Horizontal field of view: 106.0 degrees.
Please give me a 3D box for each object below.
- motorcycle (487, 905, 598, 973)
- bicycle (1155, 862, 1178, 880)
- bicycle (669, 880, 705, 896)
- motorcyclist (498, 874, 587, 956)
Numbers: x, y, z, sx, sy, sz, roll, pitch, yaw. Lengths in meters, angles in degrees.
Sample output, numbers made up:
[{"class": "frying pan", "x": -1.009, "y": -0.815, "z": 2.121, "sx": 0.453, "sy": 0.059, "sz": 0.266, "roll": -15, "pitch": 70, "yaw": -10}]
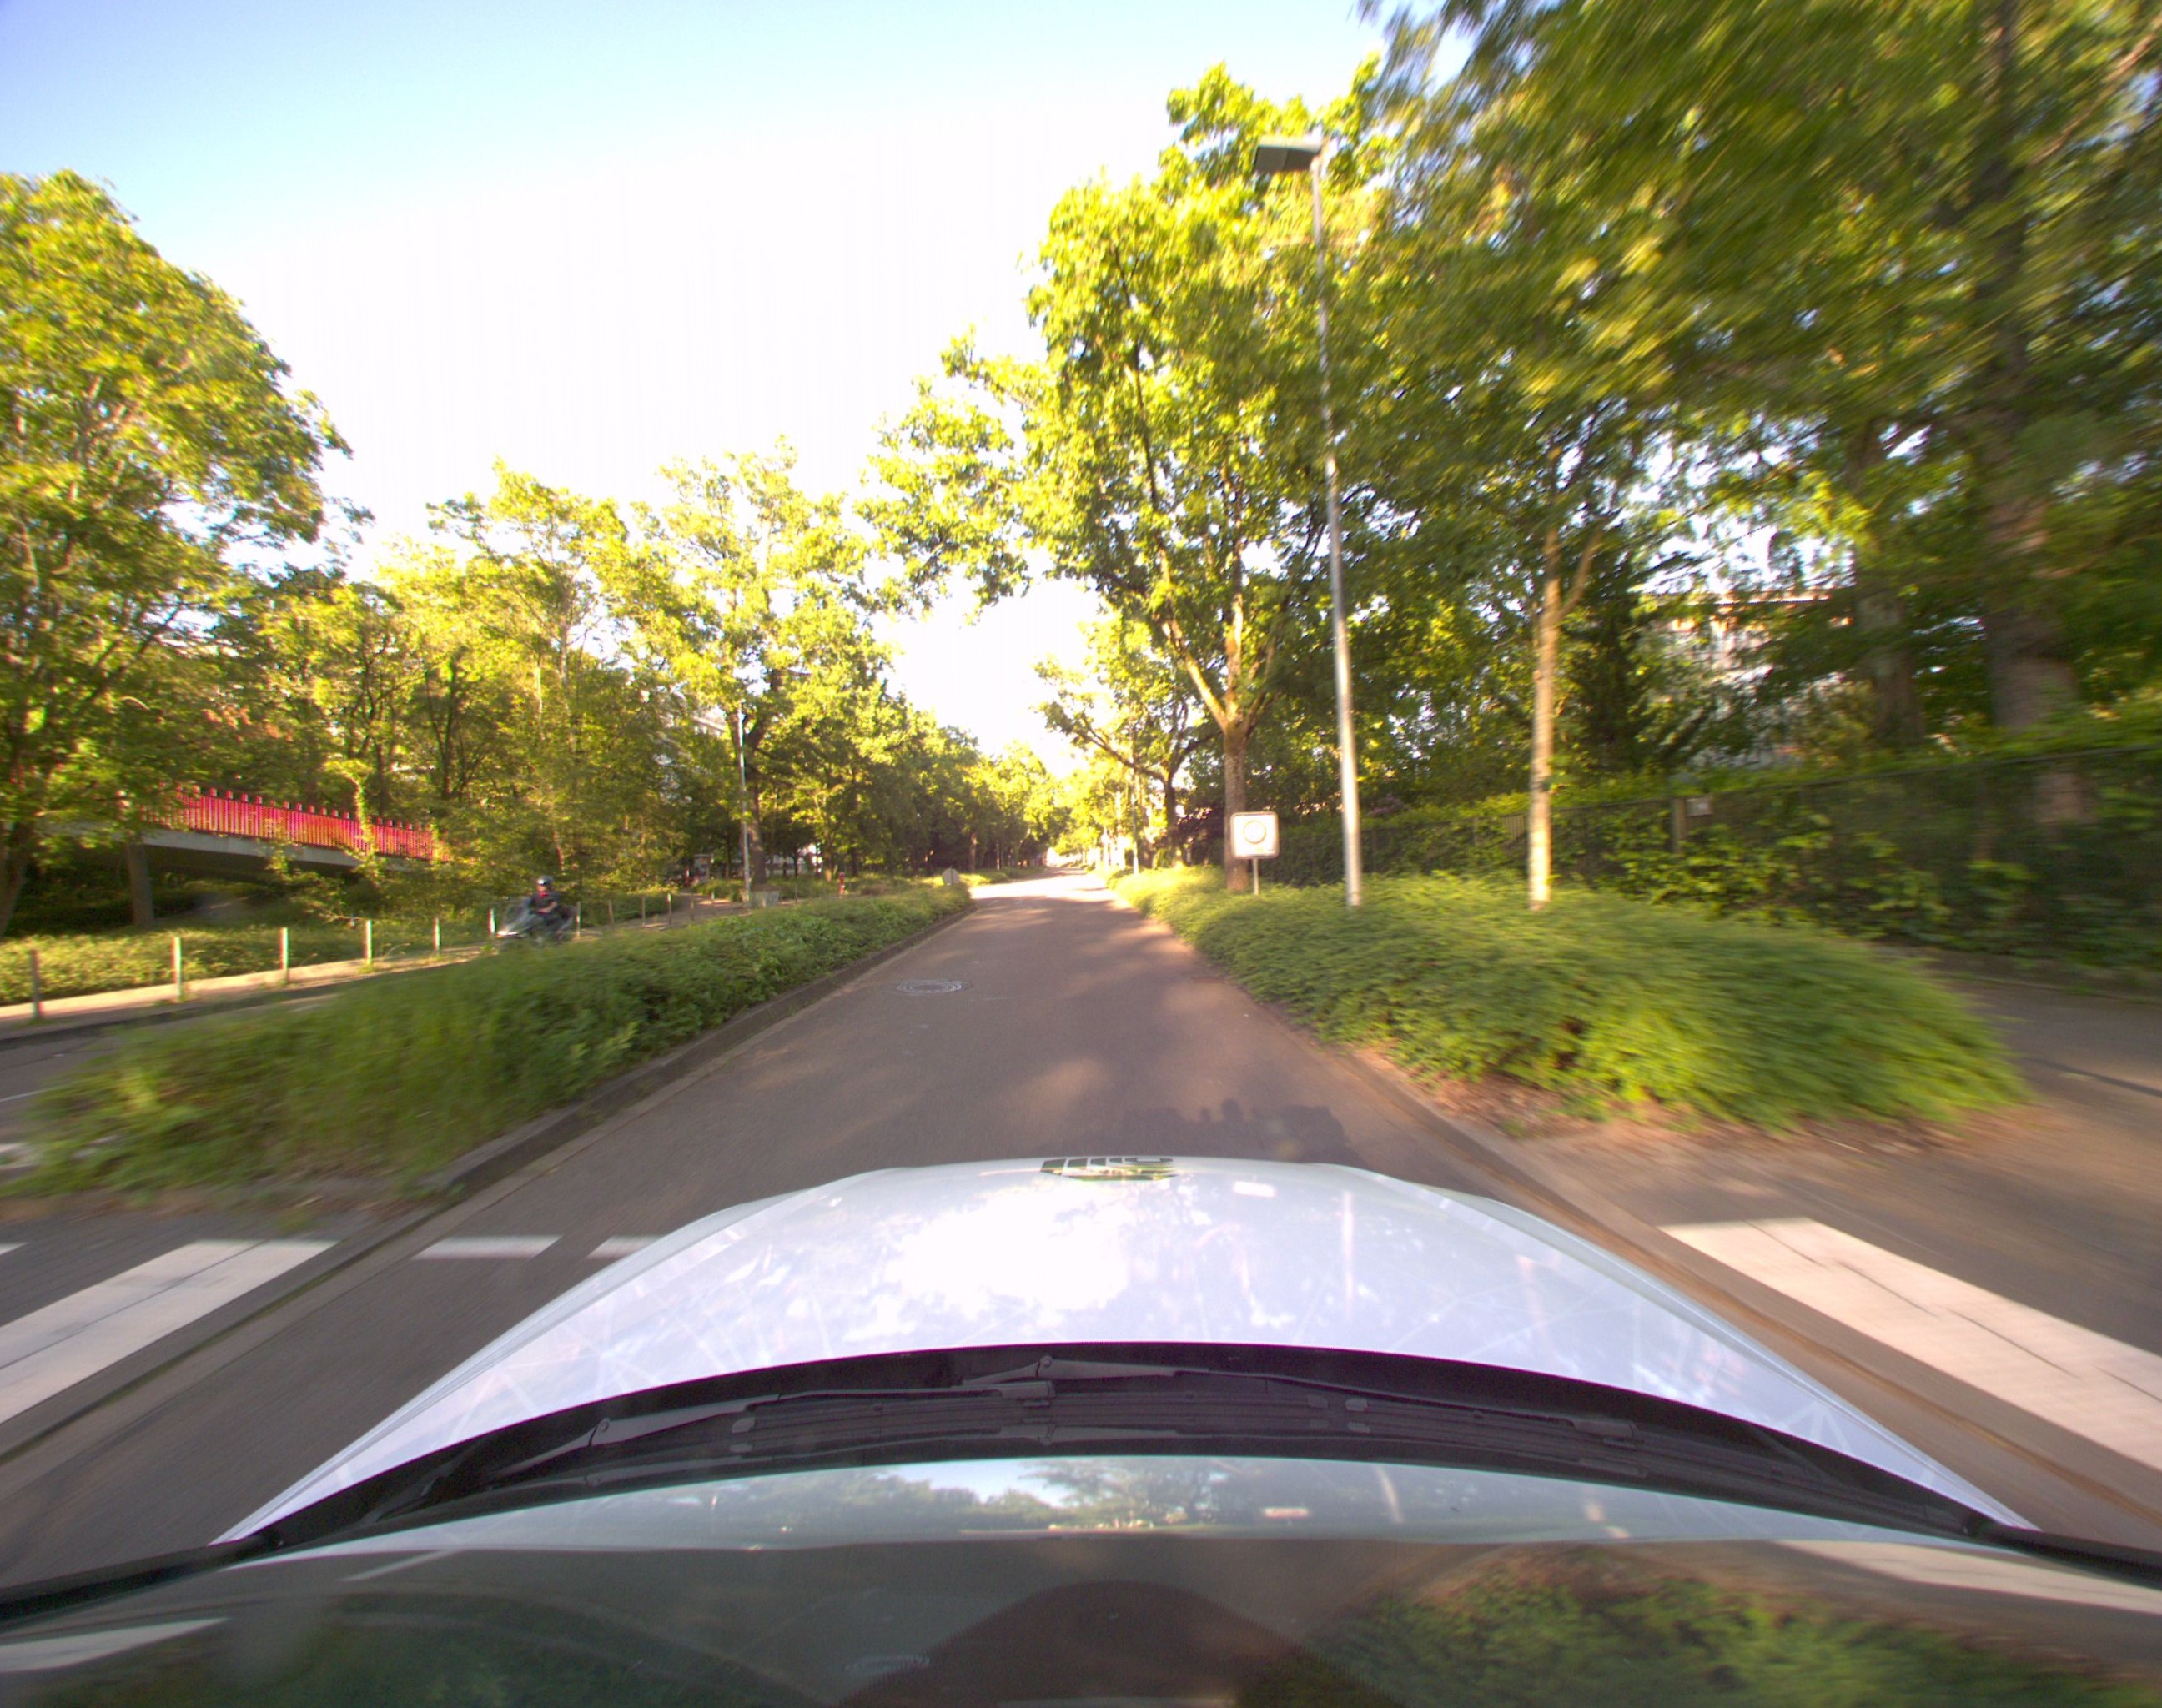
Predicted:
[{"class": "motorcycle", "x": -10.290, "y": 1.586, "z": 15.678, "sx": 0.521, "sy": 1.069, "sz": 2.288, "roll": -3, "pitch": -1, "yaw": 2}, {"class": "bicycle", "x": 6.293, "y": 1.257, "z": 59.905, "sx": 0.875, "sy": 1.200, "sz": 2.339, "roll": -5, "pitch": -1, "yaw": 24}, {"class": "bicycle", "x": -29.519, "y": 2.539, "z": 61.042, "sx": 0.530, "sy": 1.071, "sz": 2.445, "roll": 1, "pitch": 1, "yaw": 38}, {"class": "motorcyclist", "x": -10.398, "y": 1.146, "z": 15.760, "sx": 0.945, "sy": 1.471, "sz": 1.070, "roll": -3, "pitch": -1, "yaw": 1}]
